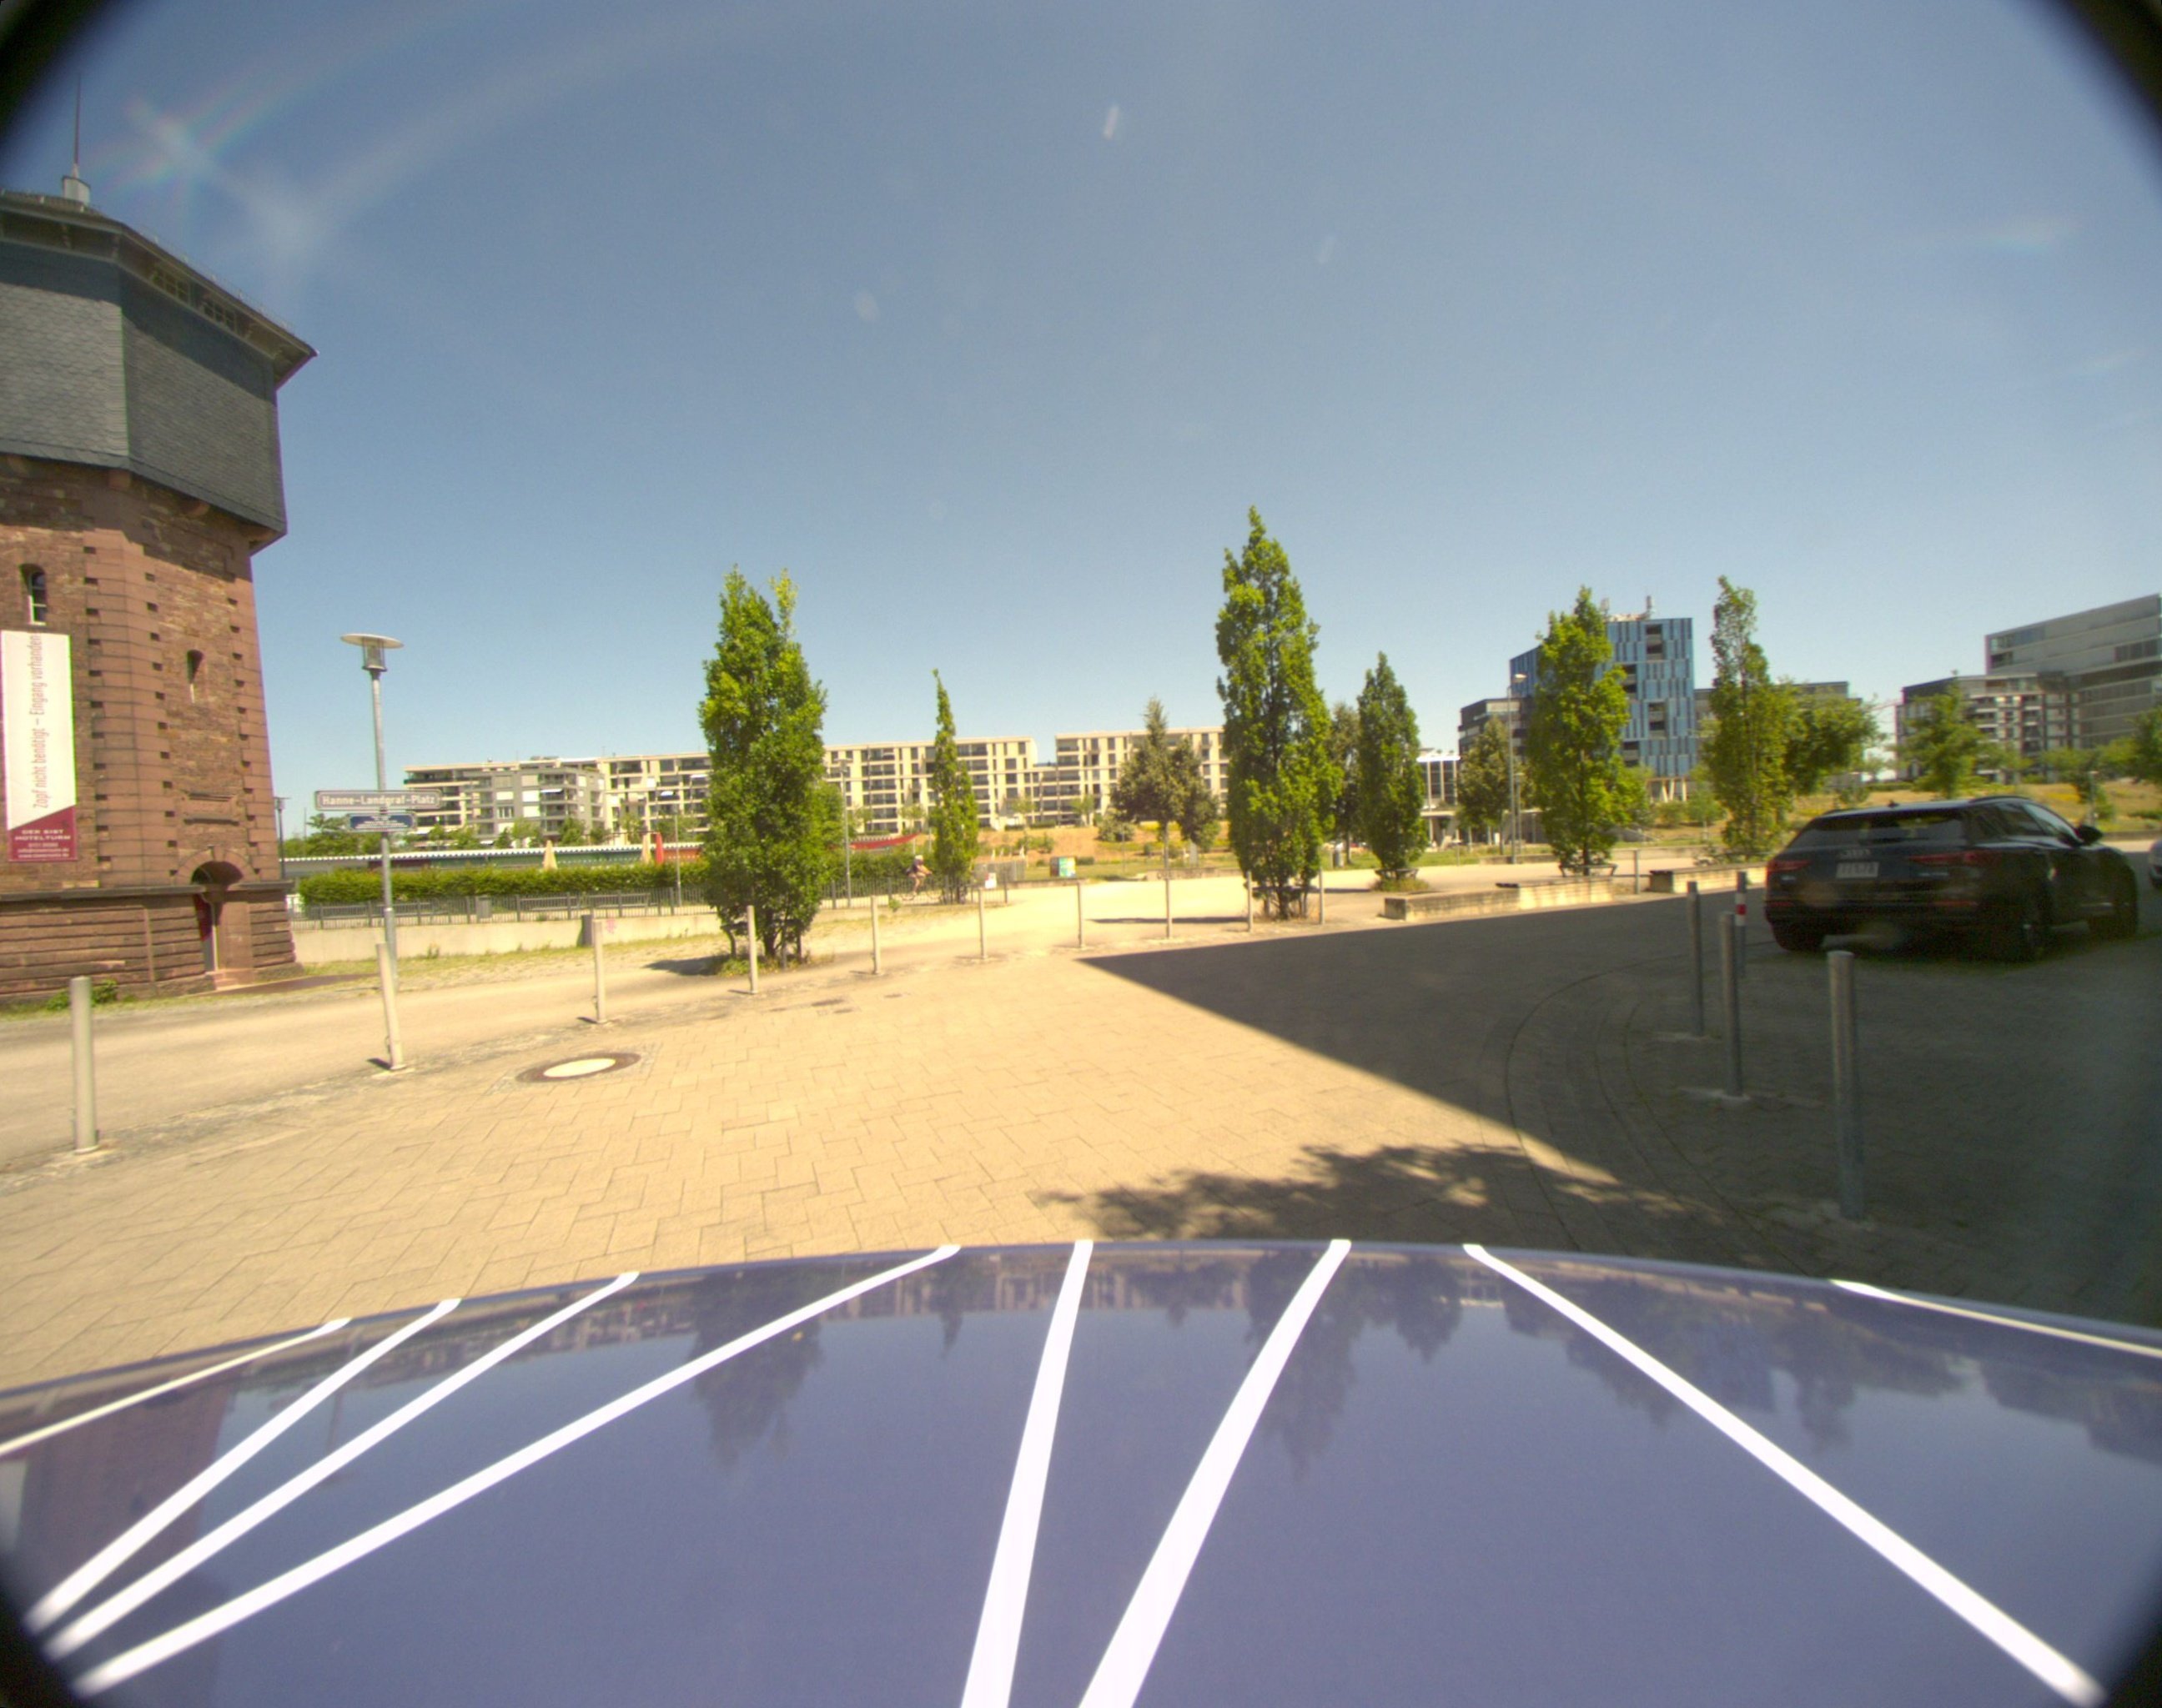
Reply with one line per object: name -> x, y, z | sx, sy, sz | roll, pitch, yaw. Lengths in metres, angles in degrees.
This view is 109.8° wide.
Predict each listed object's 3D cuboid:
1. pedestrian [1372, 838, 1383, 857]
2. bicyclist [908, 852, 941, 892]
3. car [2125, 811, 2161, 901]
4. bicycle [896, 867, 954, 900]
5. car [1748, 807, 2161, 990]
pedestrian -> 27.741, -0.626, 71.088 | 0.813, 1.717, 0.616 | -2, 1, 44
bicyclist -> -5.862, 0.670, 28.479 | 0.882, 1.447, 0.860 | -3, 1, 7
car -> 20.139, -0.065, 13.057 | 4.119, 1.496, 1.785 | -2, -1, -25
bicycle -> -5.829, 1.115, 28.487 | 1.912, 1.111, 0.799 | -3, 1, 7
car -> 9.503, 0.357, 8.226 | 4.402, 1.510, 1.776 | -2, -1, -25
